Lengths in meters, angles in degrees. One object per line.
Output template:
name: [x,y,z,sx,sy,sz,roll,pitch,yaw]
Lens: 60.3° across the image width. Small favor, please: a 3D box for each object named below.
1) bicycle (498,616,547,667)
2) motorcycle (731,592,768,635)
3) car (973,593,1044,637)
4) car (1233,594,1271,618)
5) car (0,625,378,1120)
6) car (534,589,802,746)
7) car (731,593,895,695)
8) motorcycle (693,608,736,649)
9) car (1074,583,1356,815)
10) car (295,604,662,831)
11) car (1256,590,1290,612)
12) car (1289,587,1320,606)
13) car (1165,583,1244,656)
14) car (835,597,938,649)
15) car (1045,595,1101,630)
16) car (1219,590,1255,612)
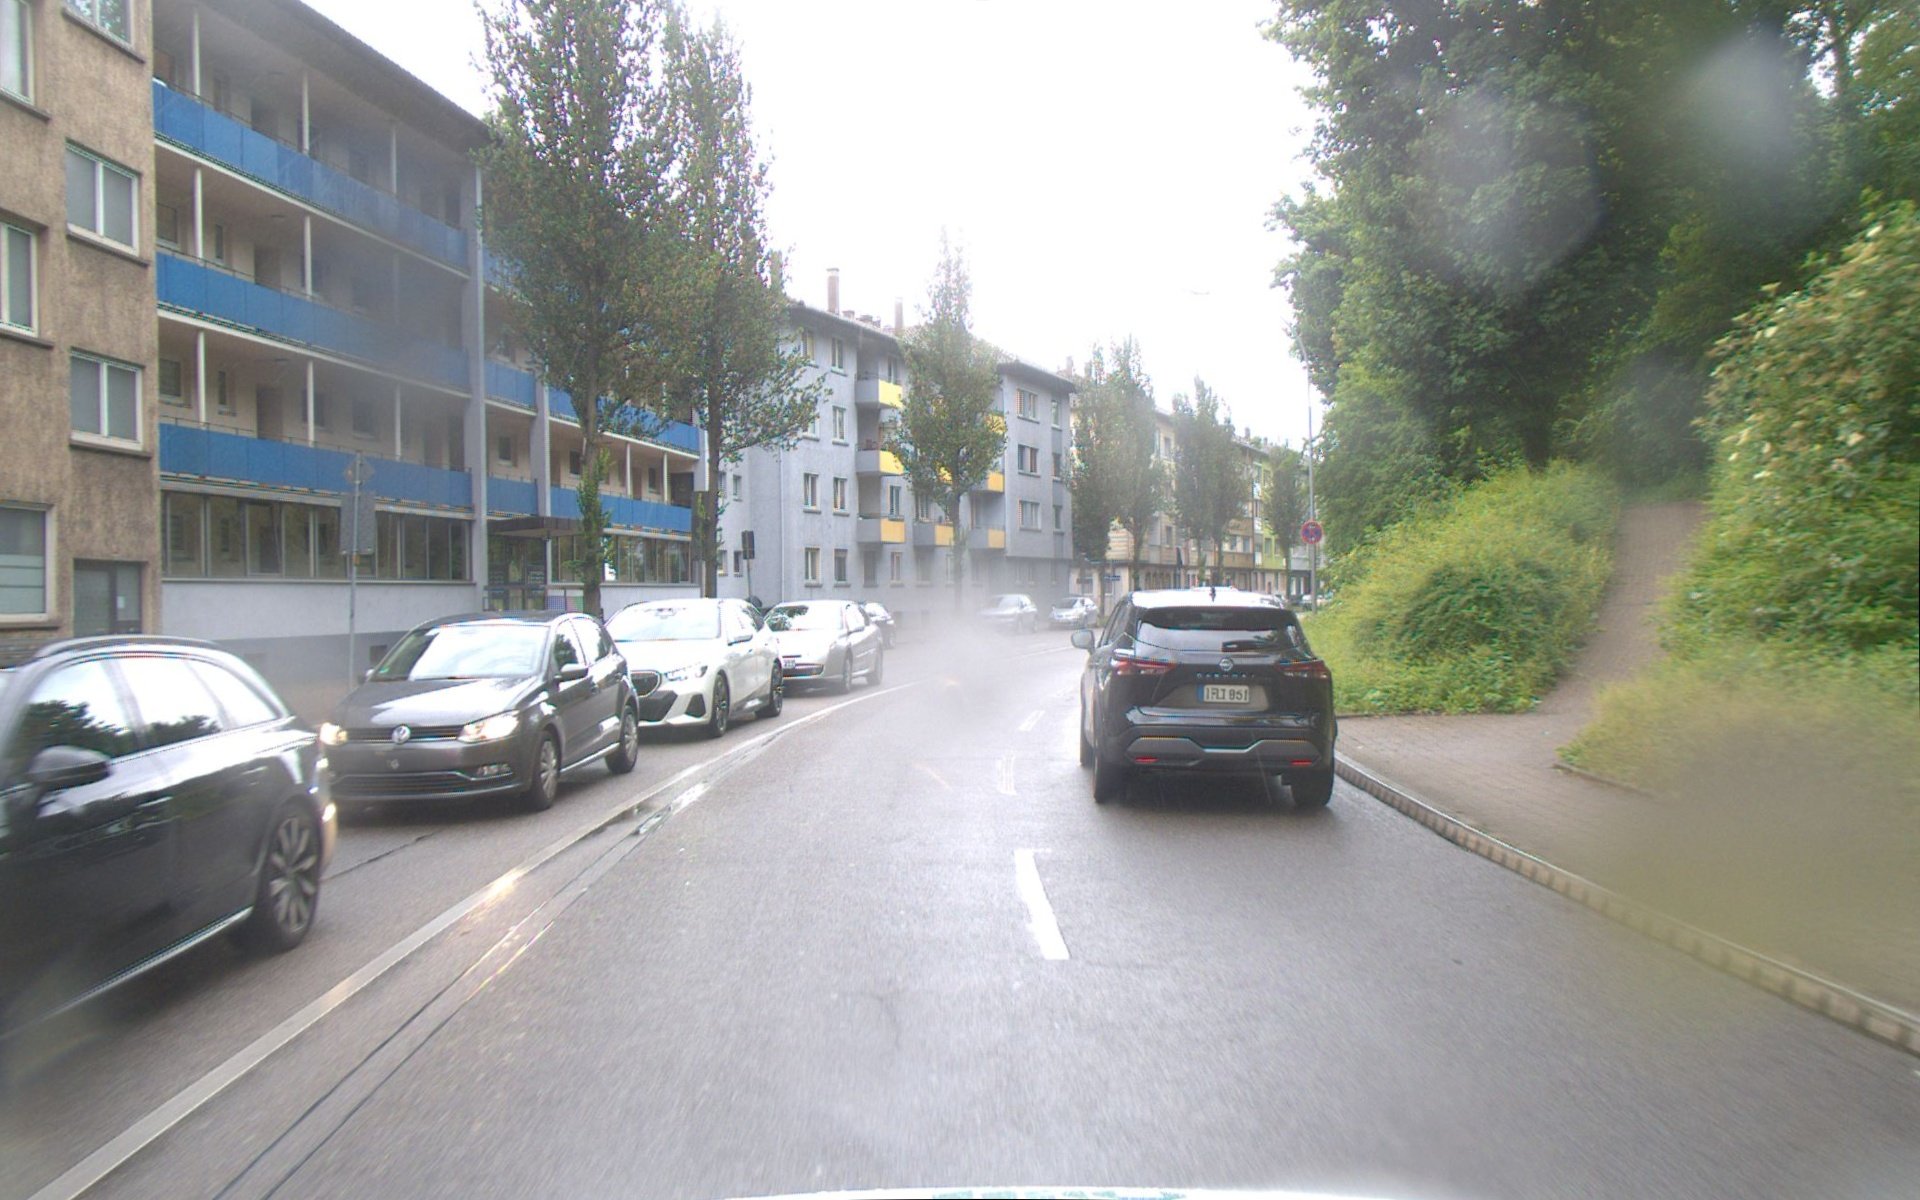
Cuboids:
bicycle: [-9.510,0.891,36.001,0.599,1.041,1.733,-2,0,-1]
motorcycle: [-7.345,0.451,57.814,0.661,1.438,2.238,1,0,8]
car: [2.011,0.589,66.654,1.726,1.632,4.536,-2,0,16]
car: [21.029,0.411,119.091,1.780,1.514,4.791,-3,0,20]
car: [-3.791,0.876,5.934,1.754,1.431,4.625,-2,0,0]
car: [-3.263,0.685,19.585,1.782,1.543,5.031,-3,0,5]
car: [-2.299,0.652,27.011,1.715,1.450,4.540,-2,0,7]
motorcycle: [-7.918,0.911,53.536,0.660,1.276,2.238,1,1,11]
car: [1.935,0.678,13.651,1.806,1.610,4.001,0,1,1]
car: [-3.672,0.815,13.322,1.645,1.472,3.821,-3,0,2]
car: [24.410,0.050,128.923,1.683,1.514,4.515,-3,0,21]
car: [29.129,-0.299,139.724,1.780,1.396,4.681,-3,0,20]
car: [6.239,0.453,41.896,1.846,1.741,4.004,-1,0,10]
car: [-2.283,0.691,52.543,1.782,1.464,4.896,-3,-1,15]
car: [5.296,0.566,77.059,1.688,1.478,4.208,-2,0,17]
car: [19.141,0.068,114.197,1.592,1.411,3.989,-2,0,21]
